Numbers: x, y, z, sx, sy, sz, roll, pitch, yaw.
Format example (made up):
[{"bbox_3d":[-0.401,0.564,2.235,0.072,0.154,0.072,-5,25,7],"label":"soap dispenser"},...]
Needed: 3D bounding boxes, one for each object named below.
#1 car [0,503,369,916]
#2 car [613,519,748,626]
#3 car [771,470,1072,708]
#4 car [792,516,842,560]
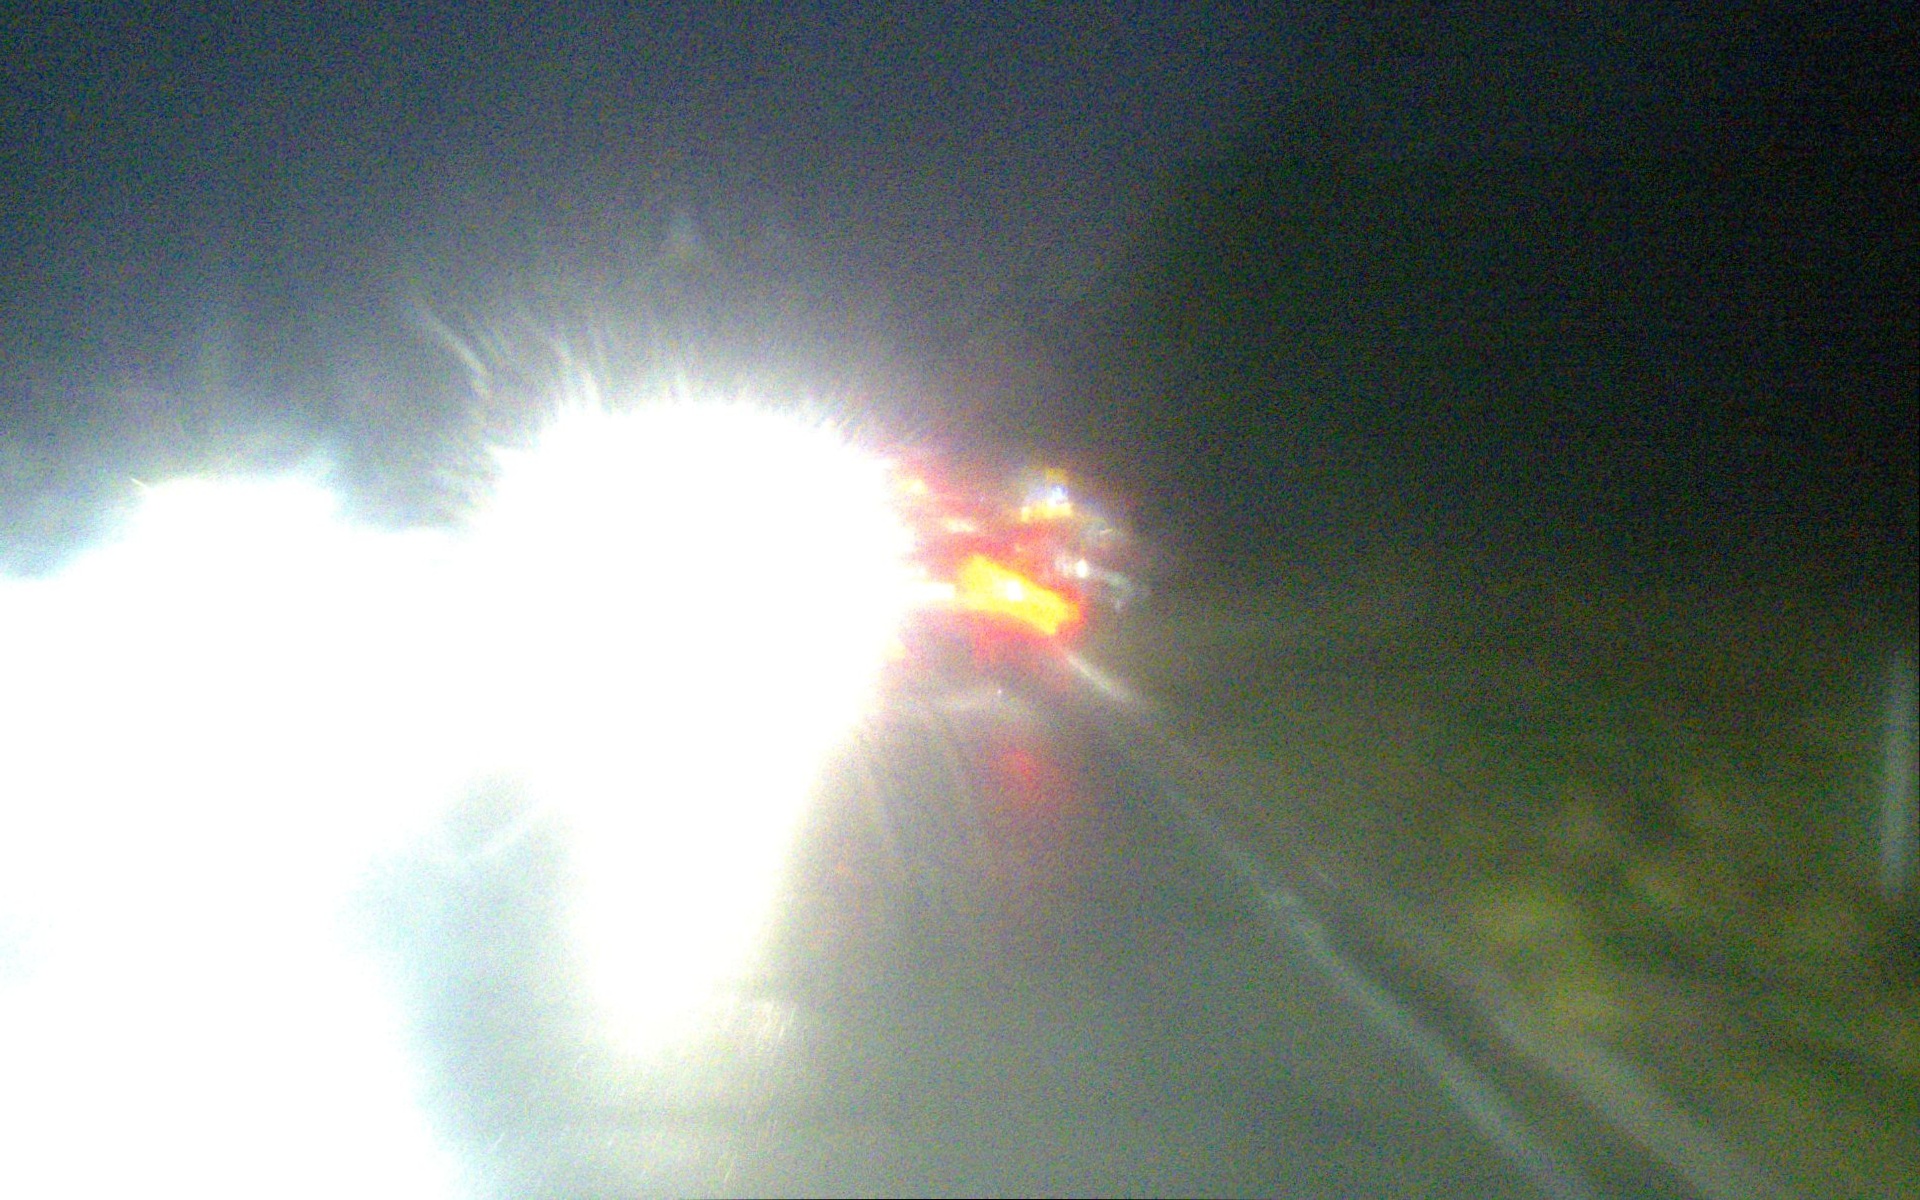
[{"bbox_3d":[-4.016,0.409,15.995,1.805,1.622,4.407,-3,1,-1],"label":"car"},{"bbox_3d":[-4.389,-0.468,54.610,1.765,1.514,4.491,-3,2,-1],"label":"car"},{"bbox_3d":[-0.314,-0.146,30.571,2.458,1.952,4.912,0,1,0],"label":"car"},{"bbox_3d":[-5.394,-2.353,129.889,1.795,1.532,3.801,-3,2,-2],"label":"car"}]
